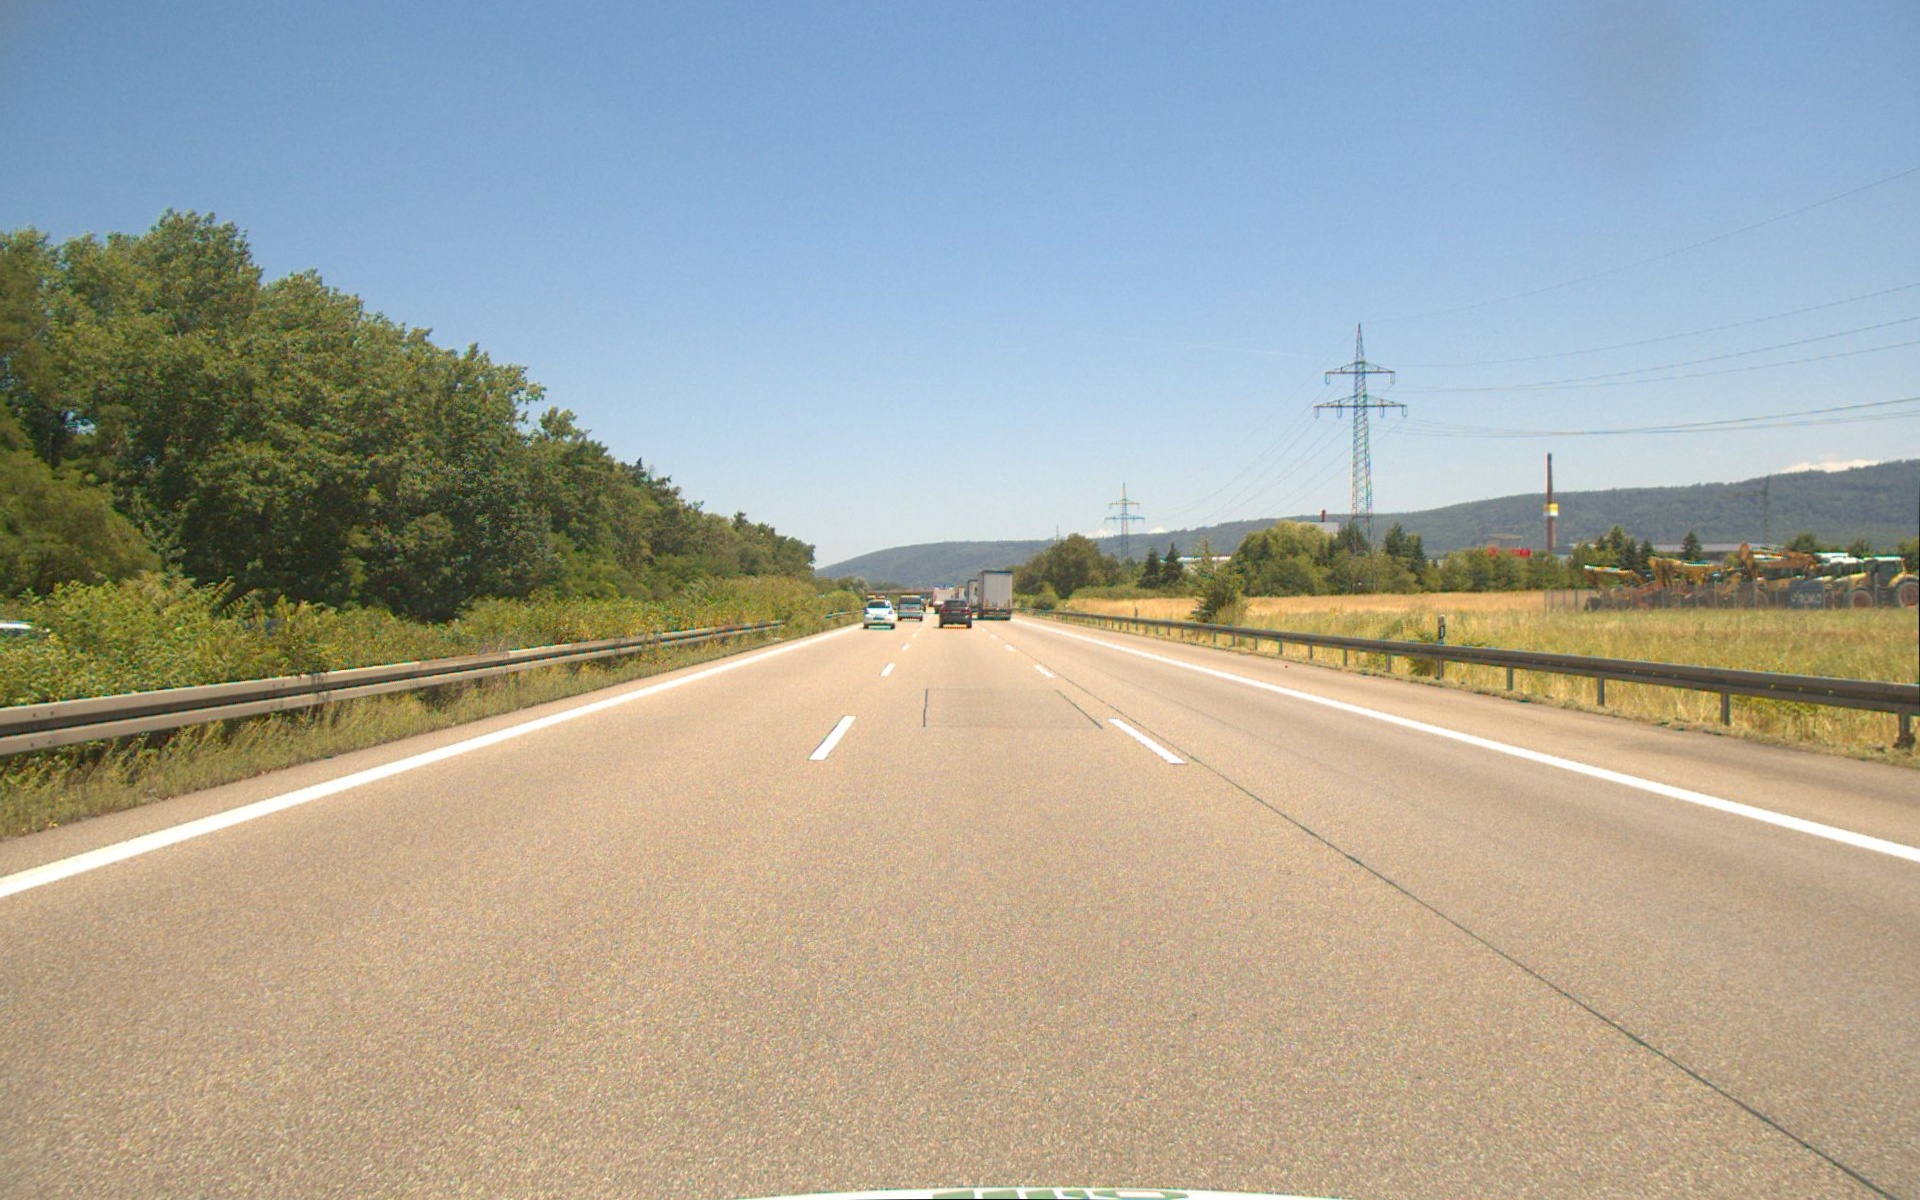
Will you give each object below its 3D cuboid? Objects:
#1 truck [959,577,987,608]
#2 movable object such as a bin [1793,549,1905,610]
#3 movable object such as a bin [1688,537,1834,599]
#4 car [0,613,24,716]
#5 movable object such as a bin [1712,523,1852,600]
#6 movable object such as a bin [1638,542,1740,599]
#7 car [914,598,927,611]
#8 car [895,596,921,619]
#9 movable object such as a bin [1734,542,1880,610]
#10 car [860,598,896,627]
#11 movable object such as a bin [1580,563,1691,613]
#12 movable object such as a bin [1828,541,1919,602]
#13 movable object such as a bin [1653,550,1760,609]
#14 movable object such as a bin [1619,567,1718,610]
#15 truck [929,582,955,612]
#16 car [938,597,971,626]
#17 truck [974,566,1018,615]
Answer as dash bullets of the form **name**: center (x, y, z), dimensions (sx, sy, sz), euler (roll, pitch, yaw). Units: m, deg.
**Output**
- **truck**: center (1.529, -0.889, 200.529), dimensions (3.034, 3.535, 11.540), euler (1, 0, -1)
- **movable object such as a bin**: center (53.160, -1.218, 98.972), dimensions (5.145, 3.350, 2.790), euler (-2, 0, 6)
- **movable object such as a bin**: center (53.439, -2.113, 110.587), dimensions (8.012, 3.797, 3.339), euler (-2, 0, 6)
- **car**: center (-12.857, 0.817, 19.788), dimensions (1.362, 1.292, 3.437), euler (1, 0, -1)
- **movable object such as a bin**: center (53.022, -2.462, 106.813), dimensions (7.358, 4.606, 3.105), euler (-2, 0, 6)
- **movable object such as a bin**: center (52.176, -2.113, 118.486), dimensions (6.213, 3.797, 2.275), euler (-2, 0, 5)
- **car**: center (-5.499, 0.646, 231.705), dimensions (1.814, 1.661, 4.000), euler (1, 0, -1)
- **car**: center (-3.898, 0.540, 124.966), dimensions (1.814, 1.661, 4.000), euler (1, 0, -1)
- **movable object such as a bin**: center (52.627, -1.466, 102.992), dimensions (7.358, 3.849, 3.105), euler (-2, 0, 6)
- **car**: center (-4.426, 0.662, 89.492), dimensions (1.770, 1.494, 4.000), euler (1, 0, -1)
- **movable object such as a bin**: center (51.244, -0.886, 125.585), dimensions (7.387, 3.461, 2.275), euler (-2, 0, 5)
- **movable object such as a bin**: center (52.474, -1.613, 94.215), dimensions (4.712, 3.252, 2.299), euler (-2, 0, 6)
- **movable object such as a bin**: center (51.794, -1.428, 114.894), dimensions (6.213, 3.797, 2.497), euler (-2, 0, 5)
- **movable object such as a bin**: center (52.174, -0.832, 121.827), dimensions (6.213, 2.930, 2.275), euler (-2, 0, 5)
- **truck**: center (-2.322, -0.396, 207.237), dimensions (3.034, 3.535, 11.540), euler (1, 0, -1)
- **car**: center (-0.330, 0.653, 94.916), dimensions (1.846, 1.542, 4.000), euler (1, 0, -1)
- **truck**: center (2.979, -0.782, 140.181), dimensions (3.199, 3.925, 11.629), euler (1, 0, -1)
